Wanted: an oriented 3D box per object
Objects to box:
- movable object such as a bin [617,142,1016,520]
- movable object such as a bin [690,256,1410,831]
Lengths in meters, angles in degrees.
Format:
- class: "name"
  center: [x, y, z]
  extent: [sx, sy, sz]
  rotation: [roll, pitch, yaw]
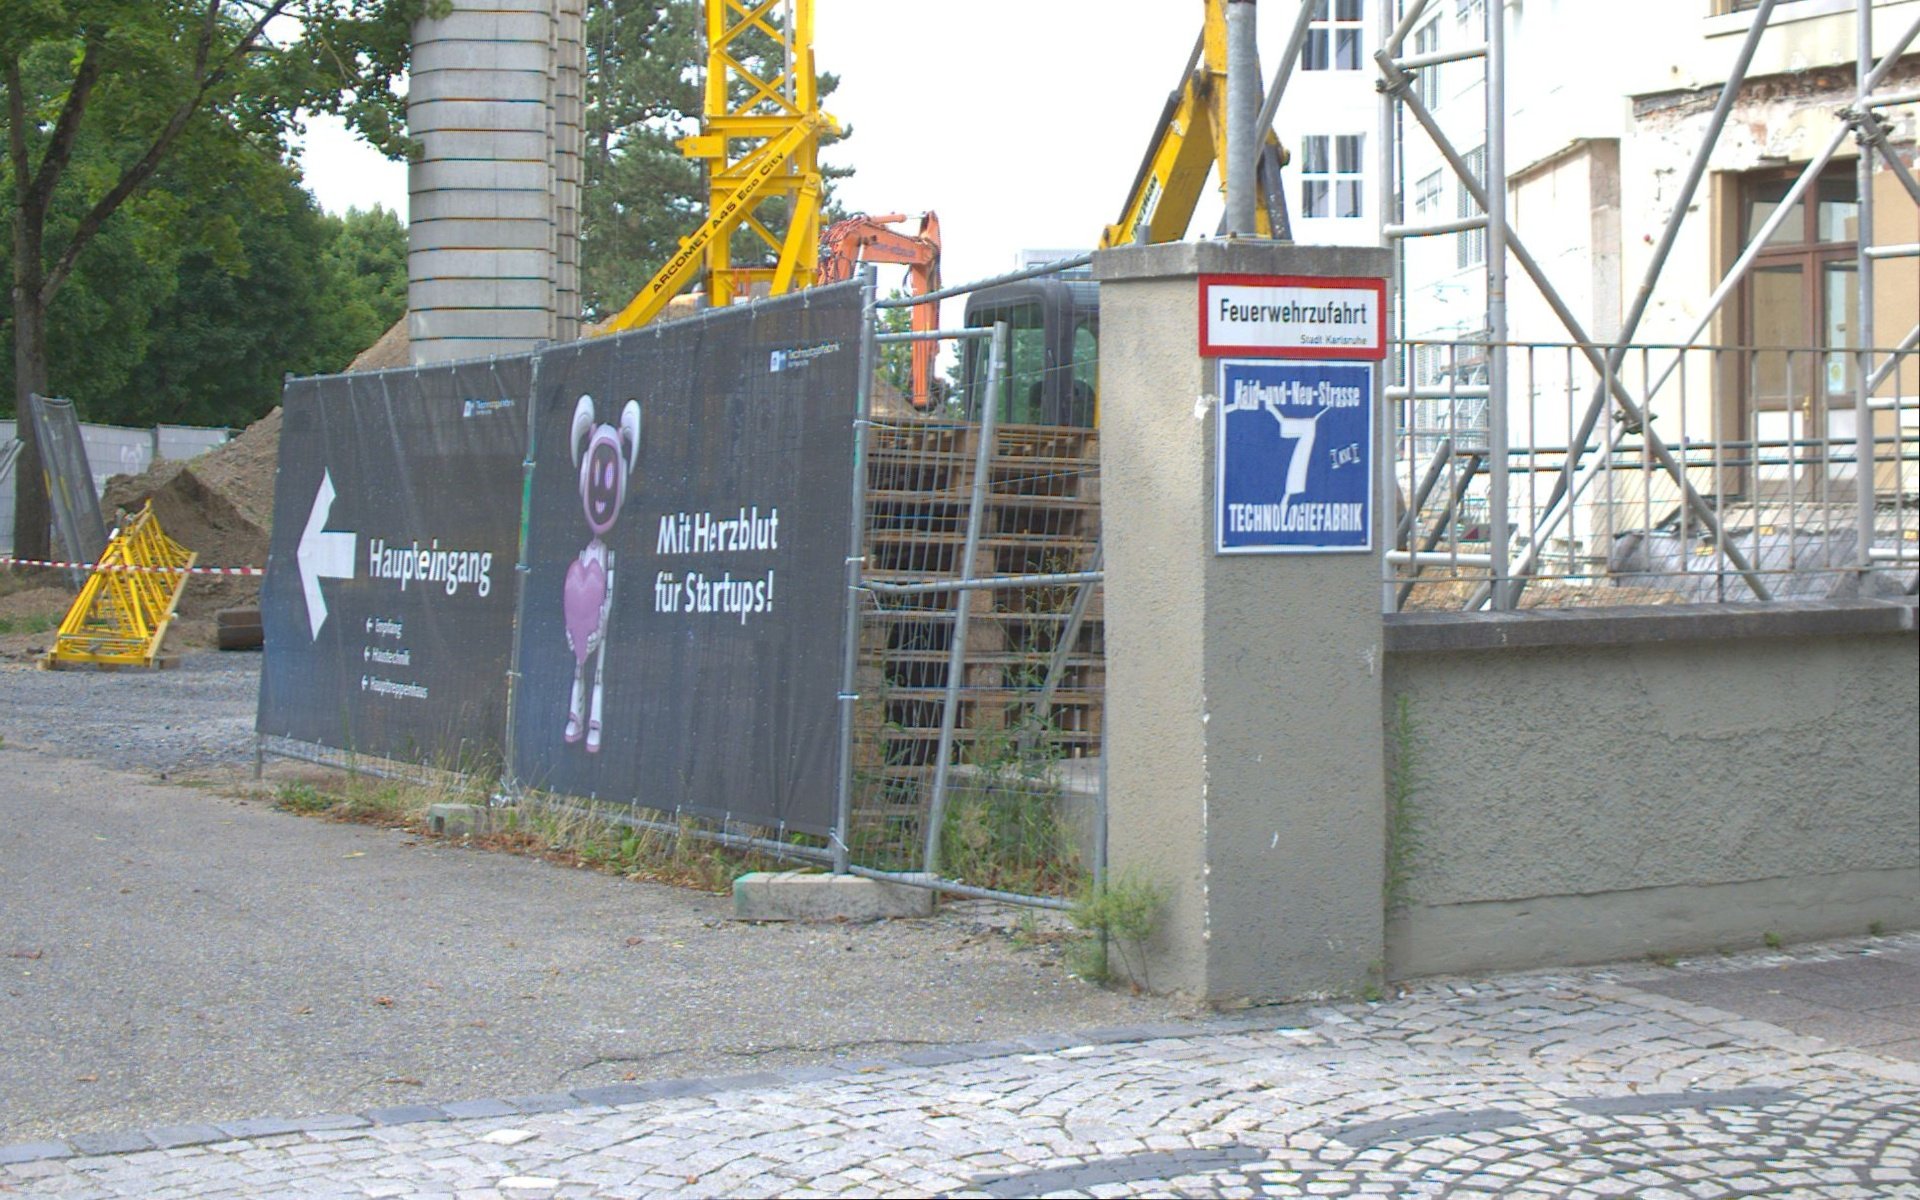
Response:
- class: "movable object such as a bin"
  center: [-2.503, -4.982, 66.308]
  extent: [3.848, 6.646, 10.979]
  rotation: [1, 3, 19]
- class: "movable object such as a bin"
  center: [0.324, -0.311, 16.407]
  extent: [2.489, 2.434, 3.062]
  rotation: [-1, 2, -20]
